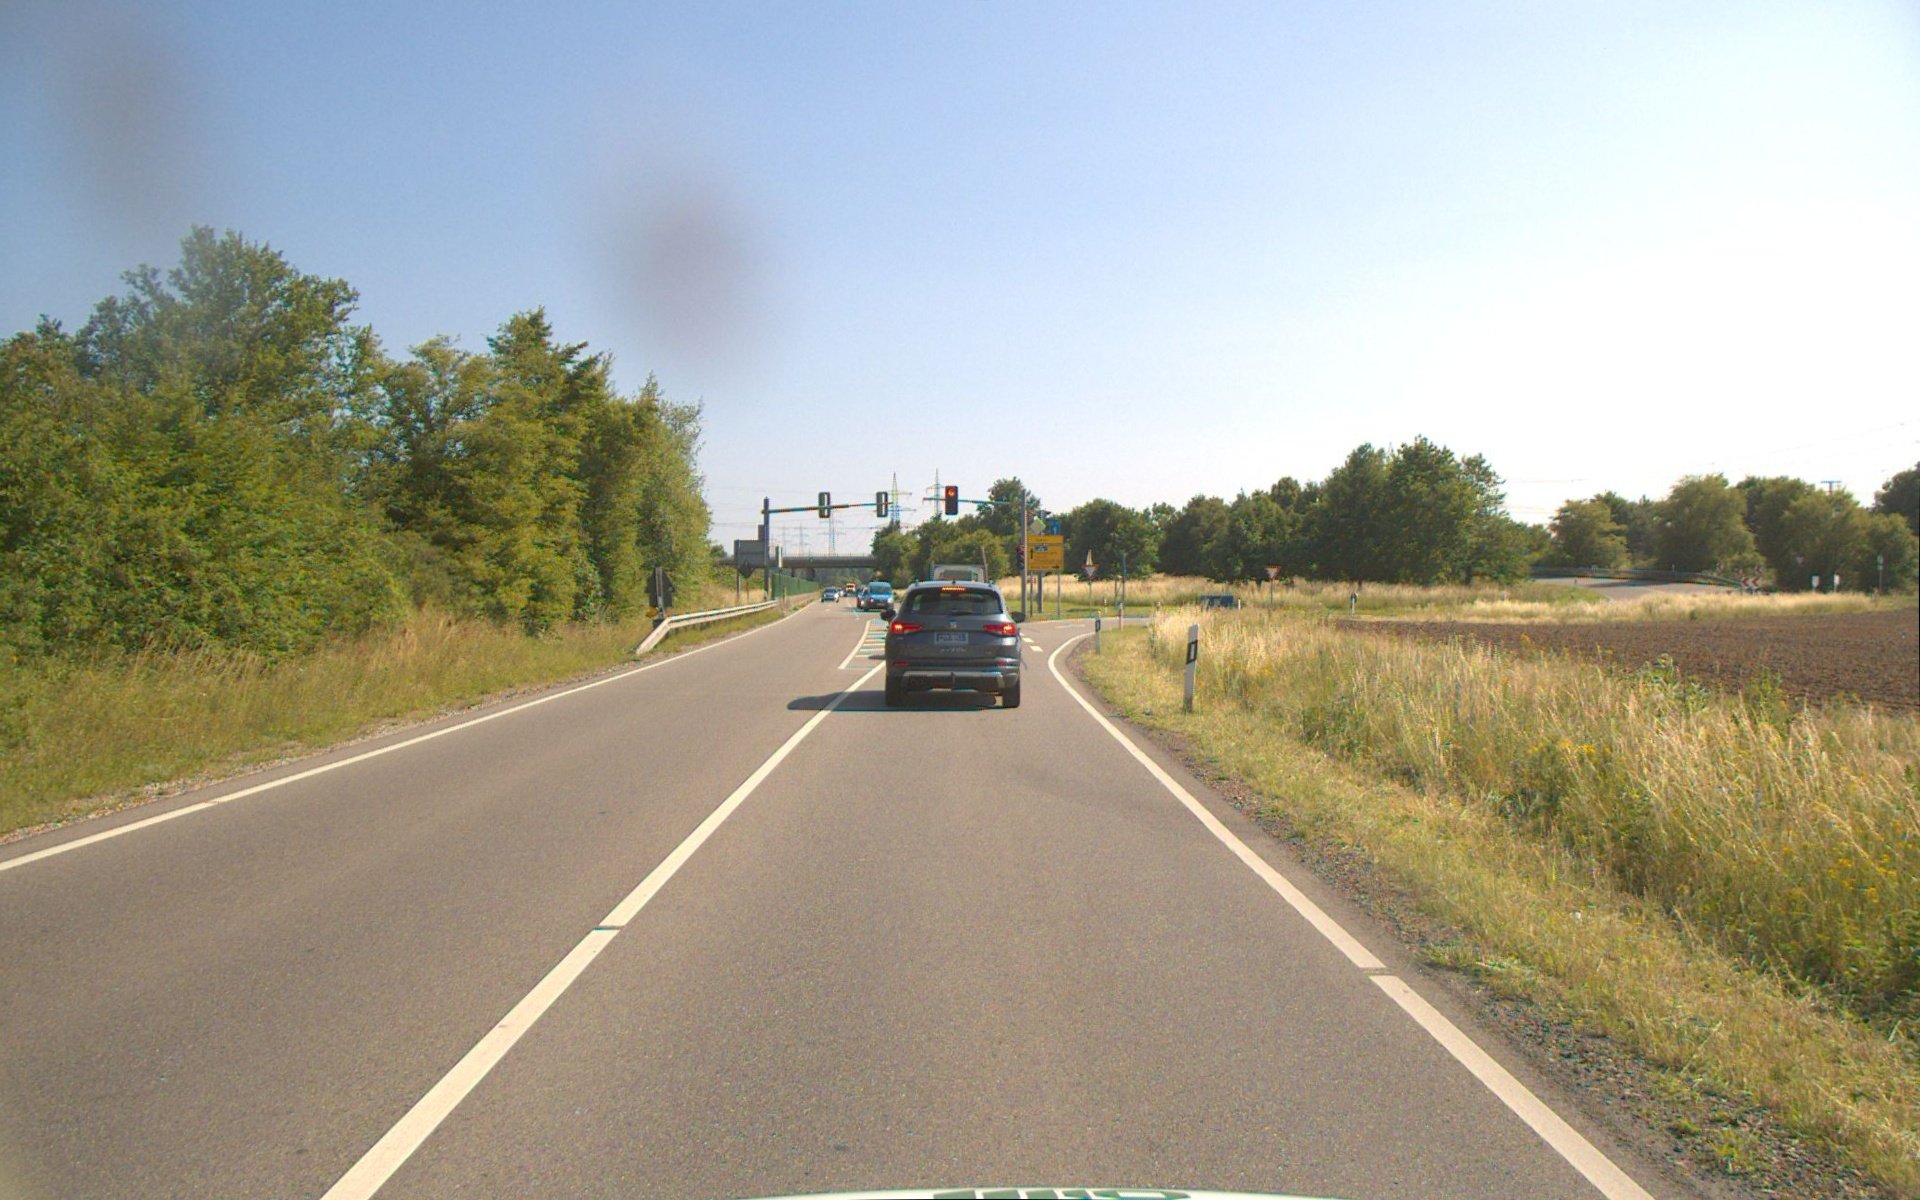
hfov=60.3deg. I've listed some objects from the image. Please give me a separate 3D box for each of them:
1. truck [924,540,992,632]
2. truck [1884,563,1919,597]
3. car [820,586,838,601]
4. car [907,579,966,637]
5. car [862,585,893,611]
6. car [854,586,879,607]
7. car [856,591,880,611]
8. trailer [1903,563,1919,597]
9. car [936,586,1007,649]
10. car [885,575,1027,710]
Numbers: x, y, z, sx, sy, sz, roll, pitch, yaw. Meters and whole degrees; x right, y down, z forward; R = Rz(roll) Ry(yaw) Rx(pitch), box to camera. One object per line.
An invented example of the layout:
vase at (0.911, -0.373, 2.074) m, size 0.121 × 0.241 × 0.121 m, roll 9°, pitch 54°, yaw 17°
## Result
truck at (-0.075, -0.466, 59.012) m, size 2.290 × 3.119 × 5.809 m, roll 0°, pitch 0°, yaw -1°
truck at (93.049, -1.956, 160.366) m, size 3.218 × 3.324 × 6.426 m, roll 0°, pitch 1°, yaw -3°
car at (-13.391, -0.691, 168.491) m, size 1.789 × 1.456 × 3.996 m, roll -1°, pitch 1°, yaw -5°
car at (-0.760, 0.205, 51.313) m, size 1.749 × 1.705 × 3.999 m, roll 0°, pitch 1°, yaw -2°
car at (-5.149, -0.123, 103.075) m, size 1.781 × 1.567 × 3.996 m, roll -1°, pitch 1°, yaw -5°
car at (-6.537, -0.273, 115.094) m, size 1.651 × 1.404 × 3.530 m, roll 0°, pitch 1°, yaw -5°
car at (-6.692, 0.077, 120.142) m, size 1.651 × 1.404 × 3.530 m, roll 0°, pitch 1°, yaw -5°
trailer at (93.326, -1.844, 153.701) m, size 3.218 × 3.324 × 13.448 m, roll 0°, pitch 1°, yaw -3°
car at (0.257, 0.430, 44.061) m, size 1.749 × 1.570 × 3.999 m, roll 0°, pitch 1°, yaw -2°
car at (-0.106, 0.499, 22.448) m, size 1.749 × 1.657 × 3.999 m, roll 0°, pitch 1°, yaw -2°
